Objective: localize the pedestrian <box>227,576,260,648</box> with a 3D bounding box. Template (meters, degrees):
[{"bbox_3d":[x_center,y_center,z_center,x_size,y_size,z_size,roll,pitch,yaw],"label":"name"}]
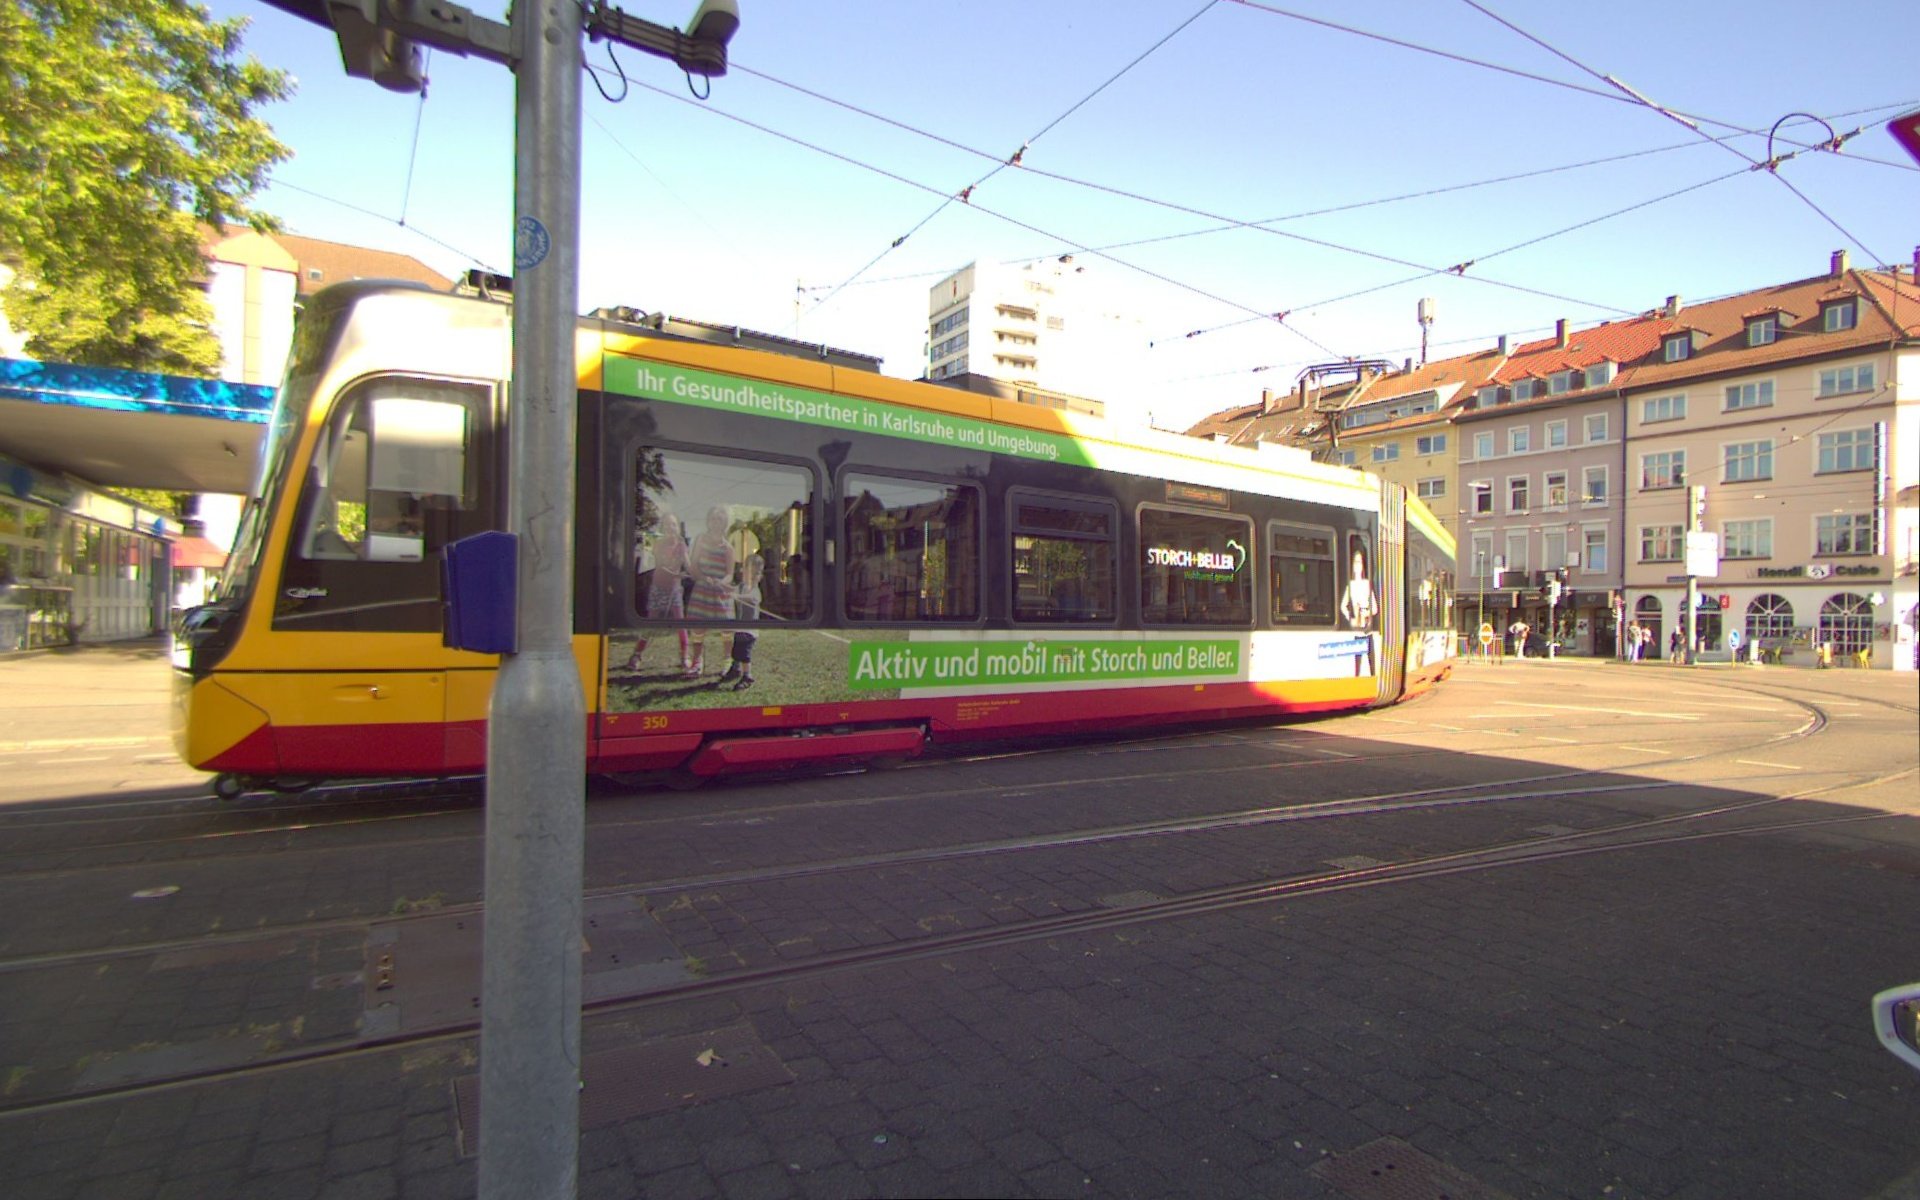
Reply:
[{"bbox_3d":[-17.345,0.286,24.336,0.493,1.724,0.645,1,-1,-23],"label":"pedestrian"}]

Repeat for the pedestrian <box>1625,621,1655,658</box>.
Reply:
[{"bbox_3d":[30.179,1.732,44.573,0.818,1.598,0.726,2,0,-9],"label":"pedestrian"}]

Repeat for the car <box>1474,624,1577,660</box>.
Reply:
[{"bbox_3d":[30.821,2.288,54.847,2.277,1.734,4.350,2,0,-27],"label":"car"}]

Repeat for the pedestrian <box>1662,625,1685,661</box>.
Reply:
[{"bbox_3d":[34.103,2.074,48.007,0.743,1.692,0.579,2,0,-30],"label":"pedestrian"}]

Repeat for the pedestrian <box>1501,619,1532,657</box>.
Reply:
[{"bbox_3d":[24.388,1.665,44.034,0.821,1.598,0.847,2,0,-20],"label":"pedestrian"}]

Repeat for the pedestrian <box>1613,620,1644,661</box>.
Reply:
[{"bbox_3d":[26.520,1.599,39.840,0.817,1.598,0.552,2,0,-2],"label":"pedestrian"}]

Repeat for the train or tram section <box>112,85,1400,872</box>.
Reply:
[{"bbox_3d":[-0.078,-0.453,10.226,12.946,3.864,2.908,2,-1,-40],"label":"train or tram section"}]

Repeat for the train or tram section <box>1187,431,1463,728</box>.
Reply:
[{"bbox_3d":[7.702,-0.139,19.351,2.889,3.864,12.798,0,-1,30],"label":"train or tram section"}]

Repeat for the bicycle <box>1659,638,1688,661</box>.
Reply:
[{"bbox_3d":[34.105,2.373,48.011,1.479,1.091,0.570,2,0,-30],"label":"bicycle"}]
